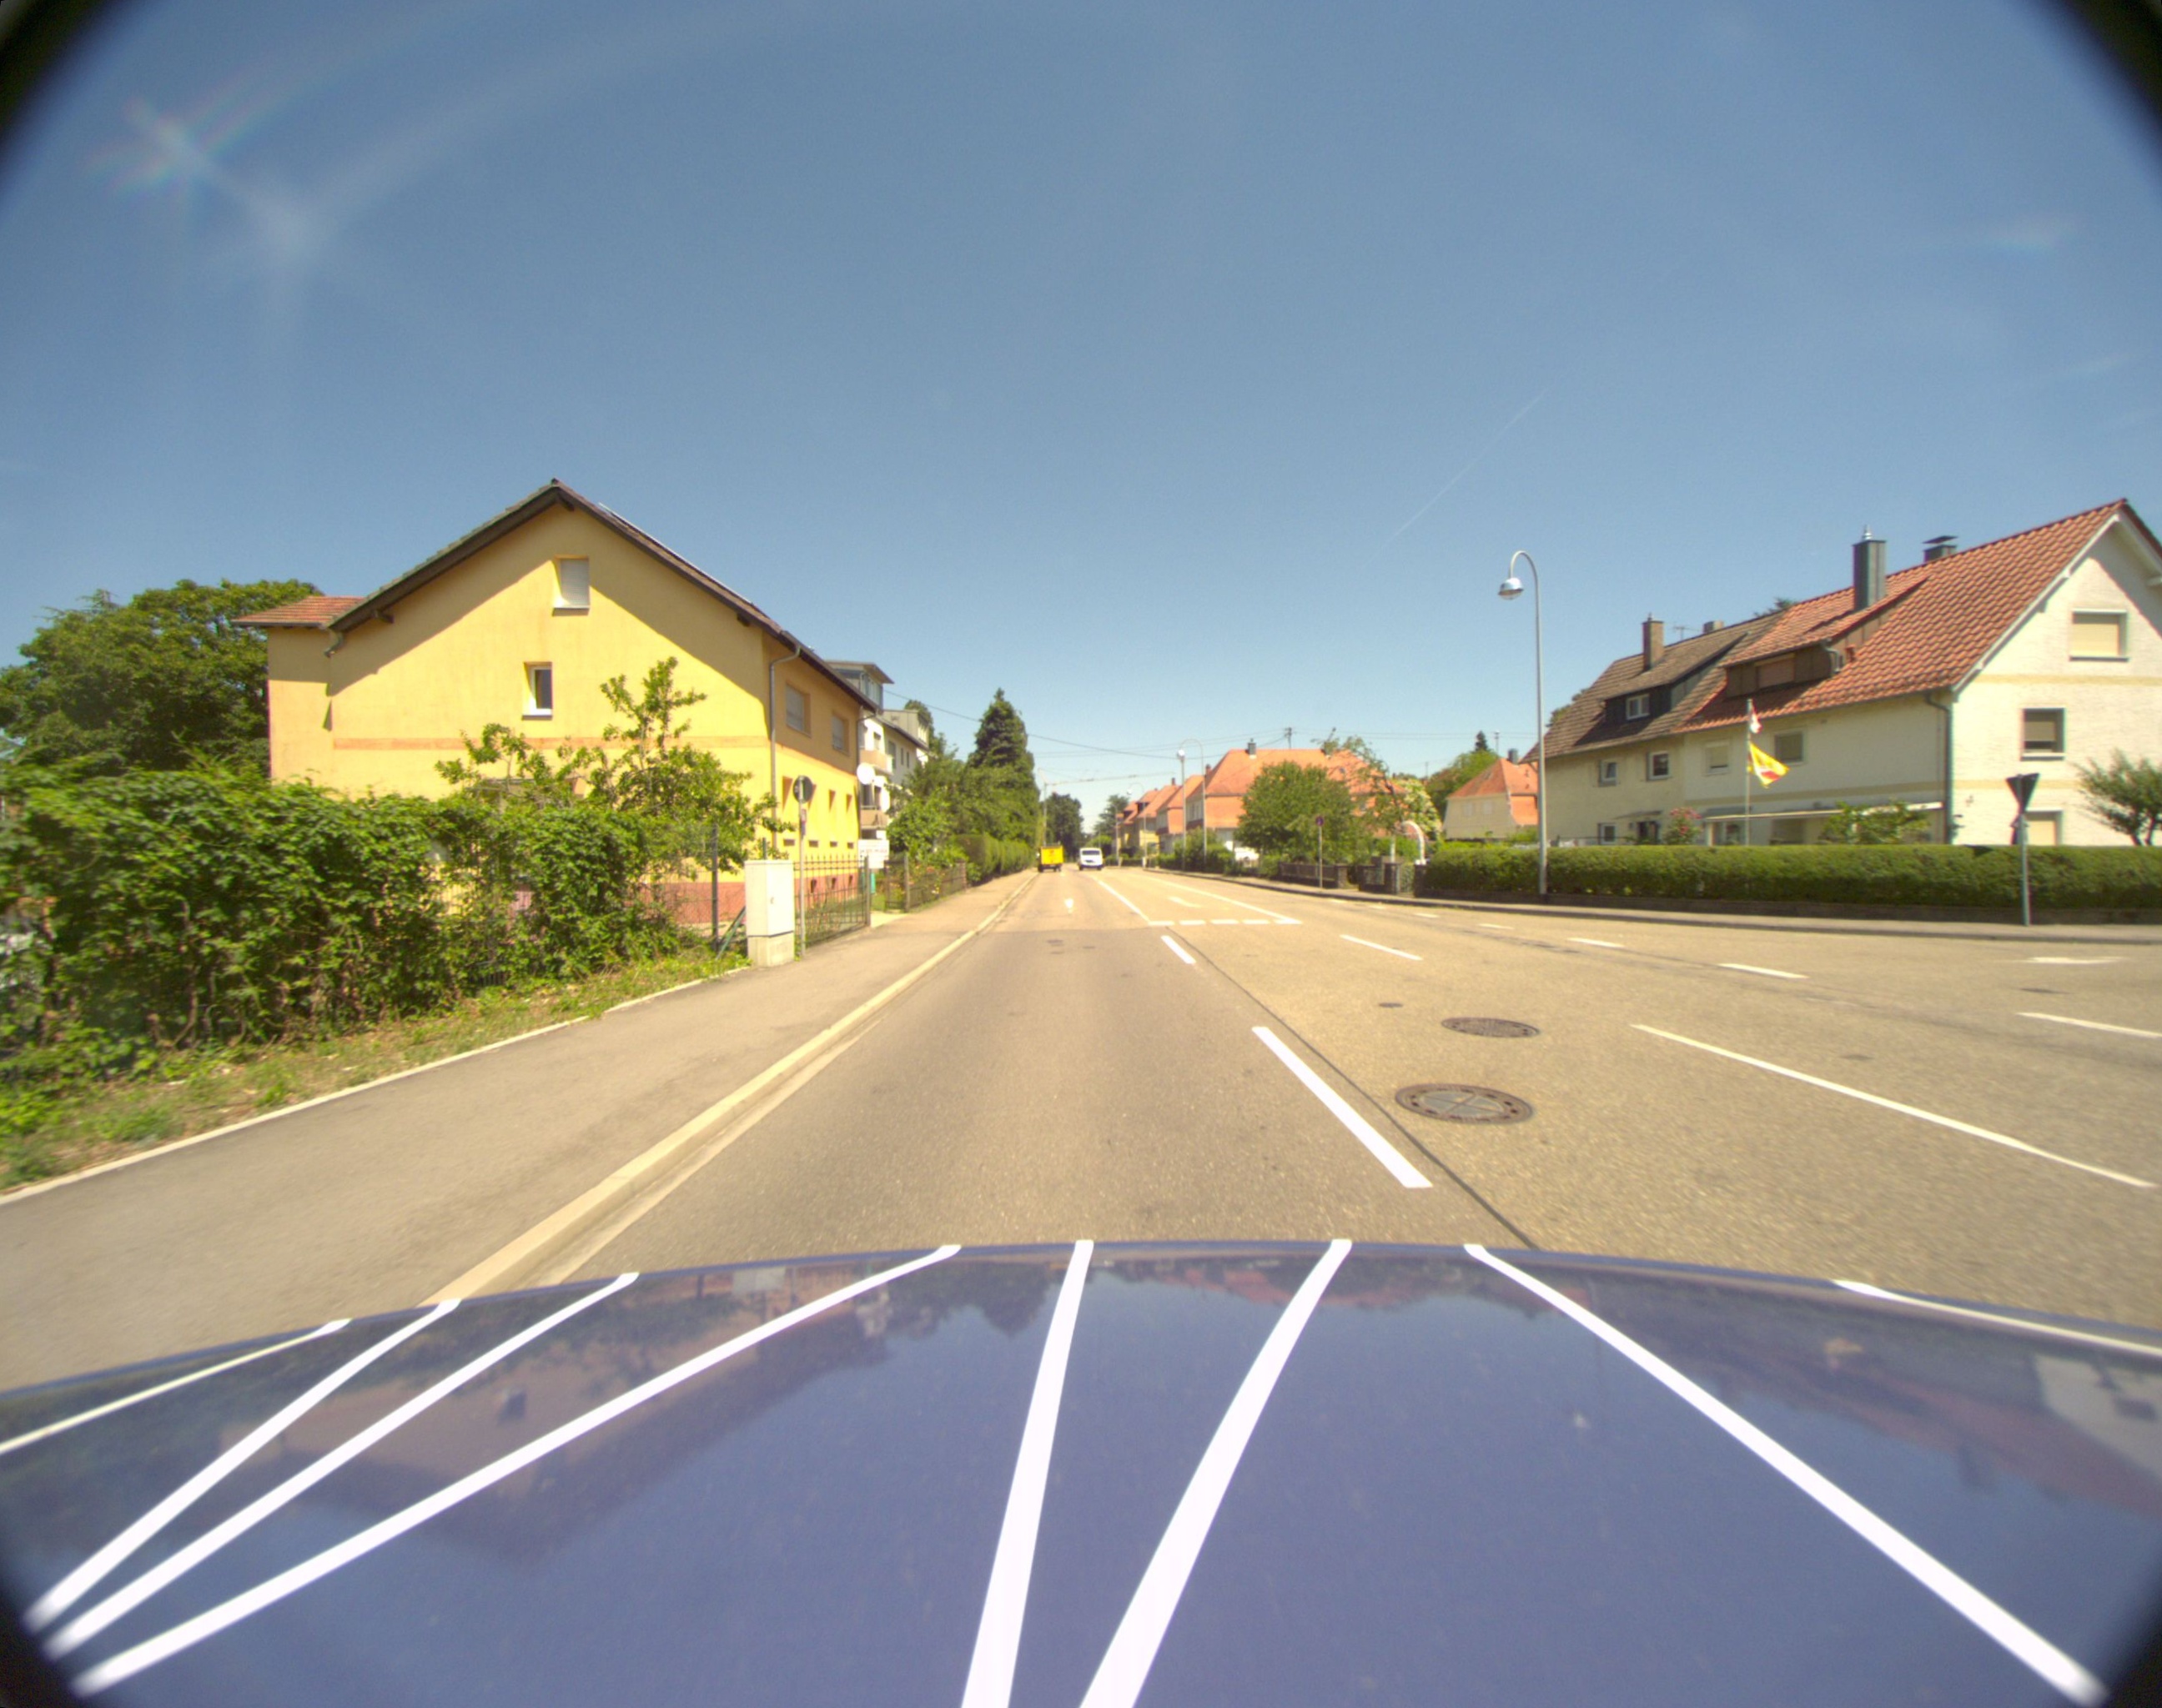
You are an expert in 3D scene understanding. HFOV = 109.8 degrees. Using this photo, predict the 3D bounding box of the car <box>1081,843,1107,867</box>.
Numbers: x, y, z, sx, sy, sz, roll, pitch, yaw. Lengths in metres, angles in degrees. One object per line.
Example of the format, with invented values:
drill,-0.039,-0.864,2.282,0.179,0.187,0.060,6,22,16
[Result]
car,1.114,0.084,66.655,1.999,2.002,4.386,-2,0,-2

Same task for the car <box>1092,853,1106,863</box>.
car,2.684,0.571,112.662,1.754,1.390,3.999,1,0,-2

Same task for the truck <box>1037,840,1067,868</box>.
truck,-2.668,0.016,69.481,2.020,2.295,6.172,-4,0,-8
